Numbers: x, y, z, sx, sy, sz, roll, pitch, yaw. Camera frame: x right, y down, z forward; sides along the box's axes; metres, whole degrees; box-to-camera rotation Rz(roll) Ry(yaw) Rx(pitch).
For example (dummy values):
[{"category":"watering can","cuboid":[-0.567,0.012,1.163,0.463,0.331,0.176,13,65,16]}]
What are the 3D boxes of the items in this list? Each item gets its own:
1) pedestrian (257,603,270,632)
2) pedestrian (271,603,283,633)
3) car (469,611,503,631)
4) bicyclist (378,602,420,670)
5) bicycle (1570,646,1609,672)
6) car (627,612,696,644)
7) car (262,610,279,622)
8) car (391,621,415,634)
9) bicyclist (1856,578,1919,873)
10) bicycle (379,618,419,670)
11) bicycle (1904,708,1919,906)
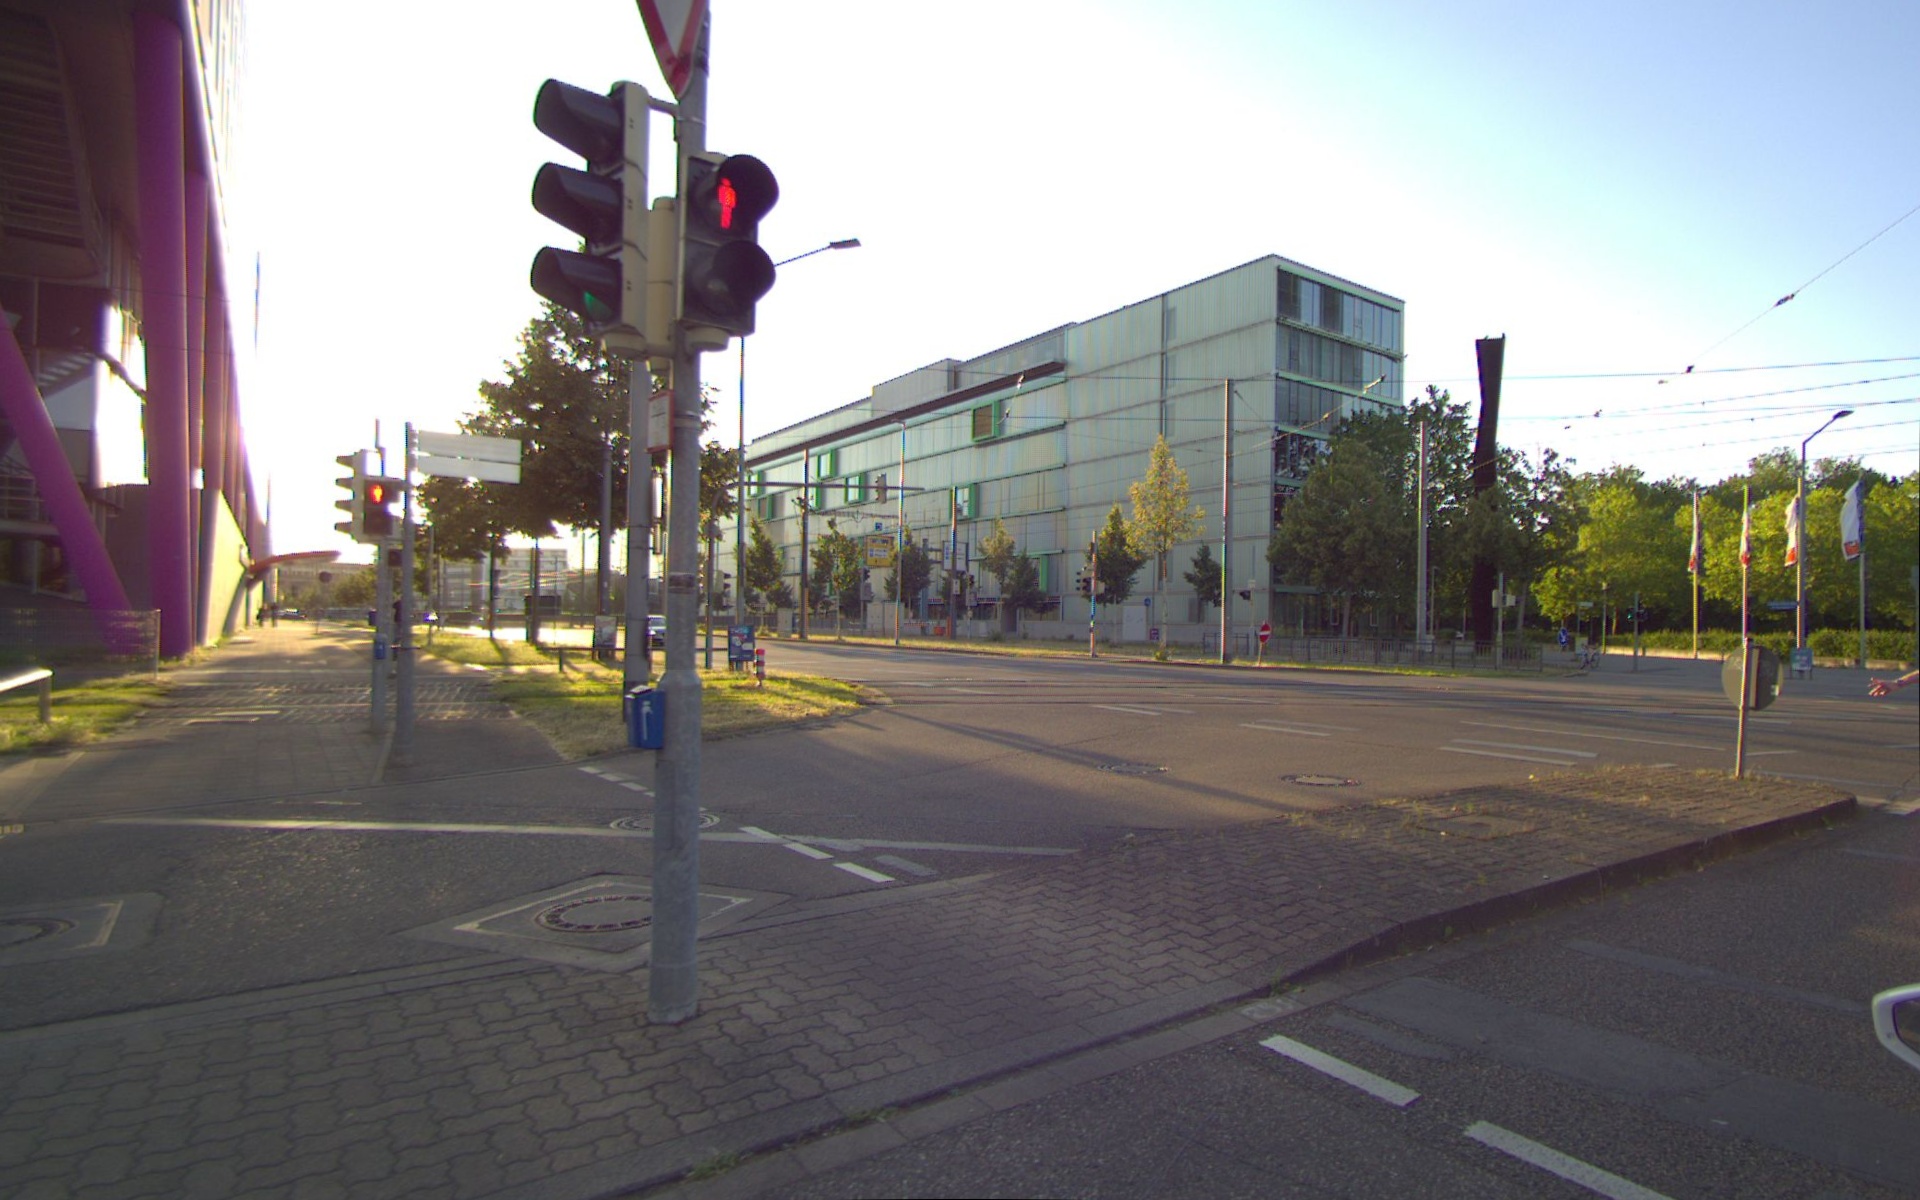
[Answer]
[{"category":"pedestrian","cuboid":[-48.759,1.229,70.306,0.613,2.040,0.804,3,-2,-34]},{"category":"pedestrian","cuboid":[-48.171,1.269,70.805,0.613,2.040,0.804,3,-2,-34]},{"category":"car","cuboid":[-42.348,1.848,89.630,1.981,1.729,3.959,2,-2,-36]},{"category":"bicyclist","cuboid":[-14.080,0.884,25.198,0.799,1.654,1.277,2,-1,-32]},{"category":"bicycle","cuboid":[29.314,2.727,46.755,2.370,1.151,0.694,2,-2,-37]},{"category":"car","cuboid":[-14.489,1.337,48.644,1.982,1.439,3.958,2,-2,-37]},{"category":"car","cuboid":[-86.881,2.003,126.653,1.702,1.518,3.962,2,-2,-34]},{"category":"car","cuboid":[-65.982,3.272,119.036,1.981,1.439,3.959,2,-2,-36]},{"category":"bicyclist","cuboid":[6.210,0.756,6.029,0.985,1.740,1.025,2,-1,-33]},{"category":"bicycle","cuboid":[-14.082,1.088,25.200,0.735,1.223,2.091,2,-2,-32]},{"category":"bicycle","cuboid":[6.328,1.187,5.944,2.100,1.082,0.630,2,-2,-34]}]
